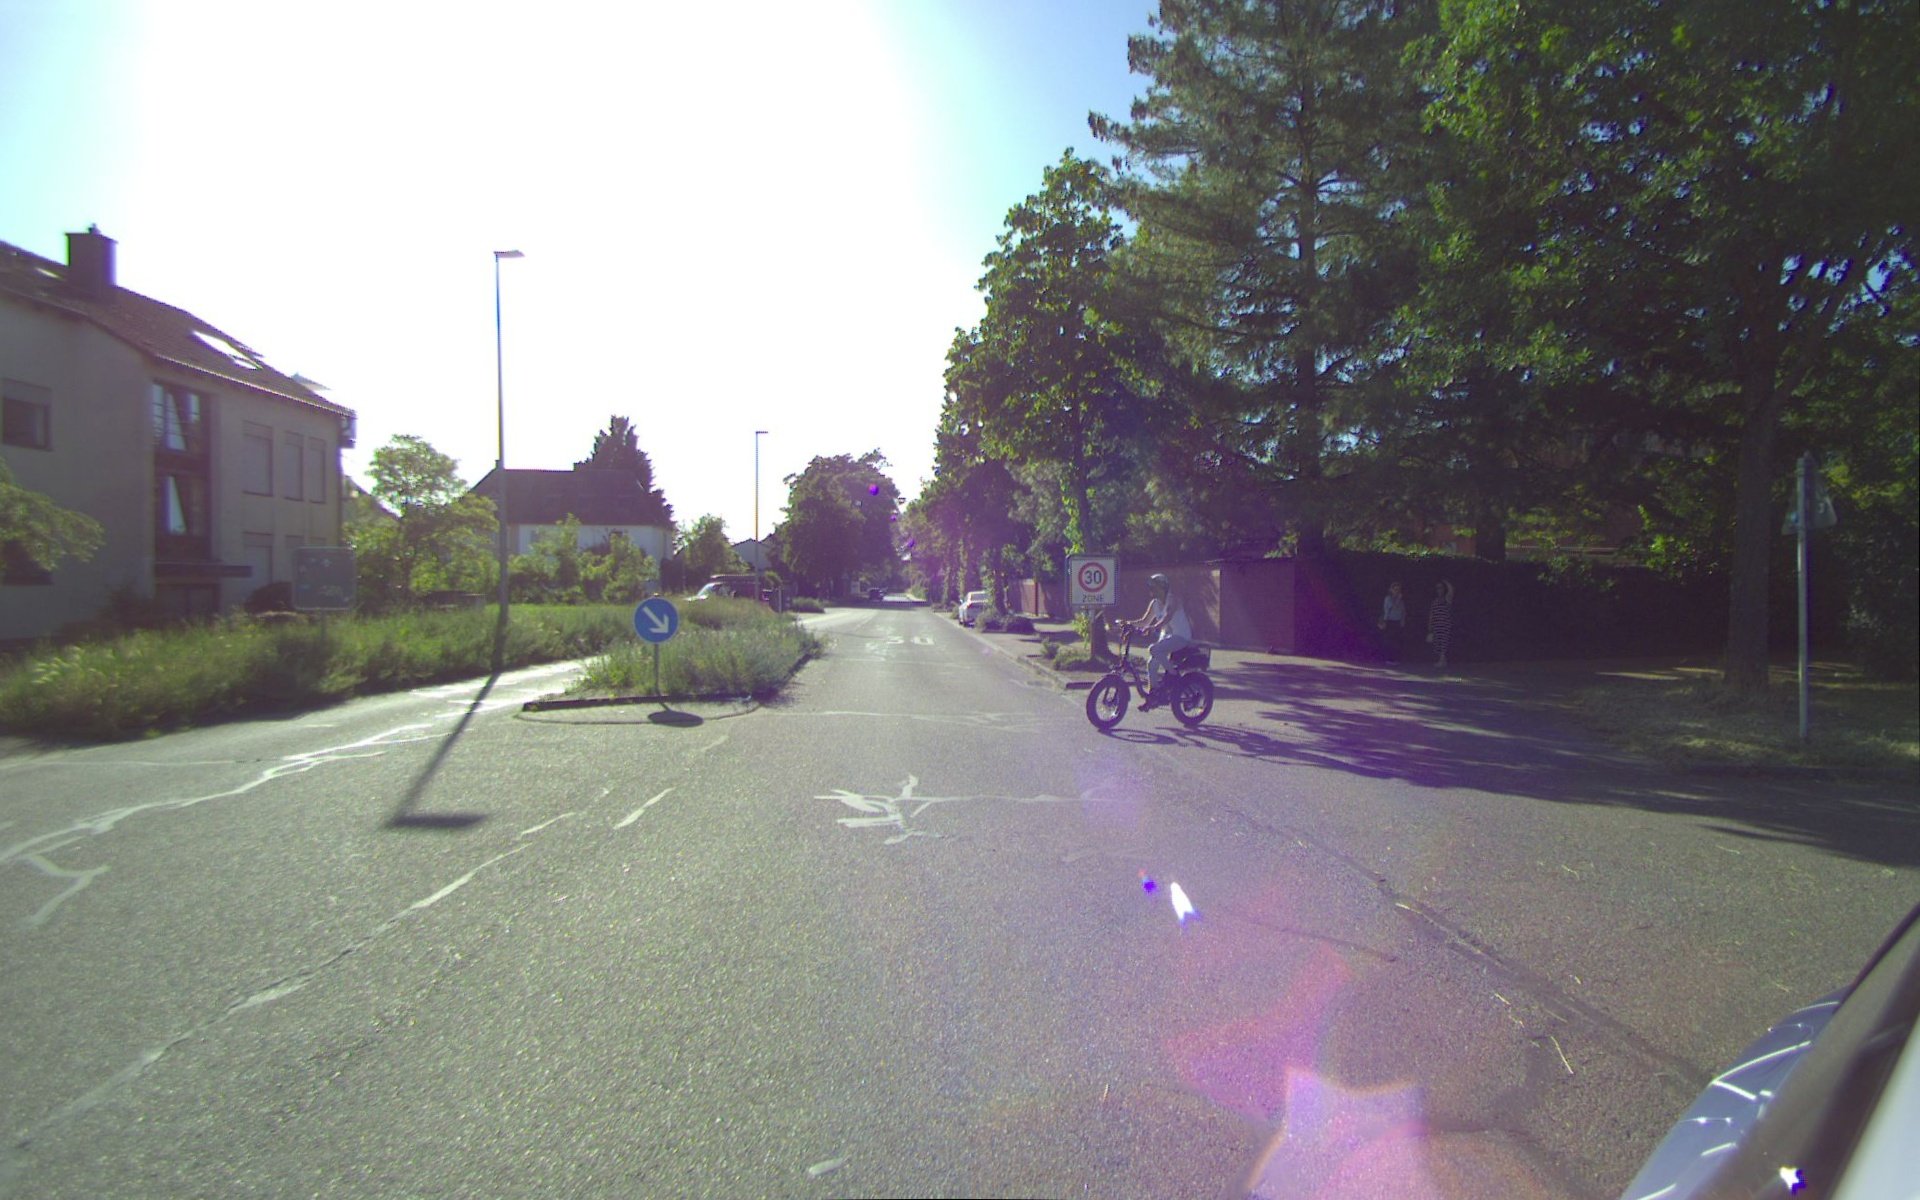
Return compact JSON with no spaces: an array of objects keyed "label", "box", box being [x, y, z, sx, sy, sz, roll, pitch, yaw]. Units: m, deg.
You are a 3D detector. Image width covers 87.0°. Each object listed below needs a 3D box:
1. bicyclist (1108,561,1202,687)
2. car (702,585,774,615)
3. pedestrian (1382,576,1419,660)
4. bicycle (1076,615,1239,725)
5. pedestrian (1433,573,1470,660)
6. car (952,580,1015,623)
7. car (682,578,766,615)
[{"label":"bicyclist","box":[2.187,0.245,11.388,0.821,1.364,0.640,0,1,-22]},{"label":"car","box":[-11.433,-0.016,52.103,3.324,1.459,1.619,-1,1,-25]},{"label":"pedestrian","box":[8.219,0.324,18.886,0.527,1.539,0.397,0,1,-27]},{"label":"bicycle","box":[2.244,0.763,11.427,1.858,1.159,0.459,0,0,-23]},{"label":"pedestrian","box":[9.031,0.294,18.613,0.388,1.580,0.539,1,1,0]},{"label":"car","box":[0.935,0.020,42.423,1.959,1.679,4.007,0,1,-9]},{"label":"car","box":[-11.430,-0.205,49.162,3.585,1.738,1.747,-1,1,-39]}]
